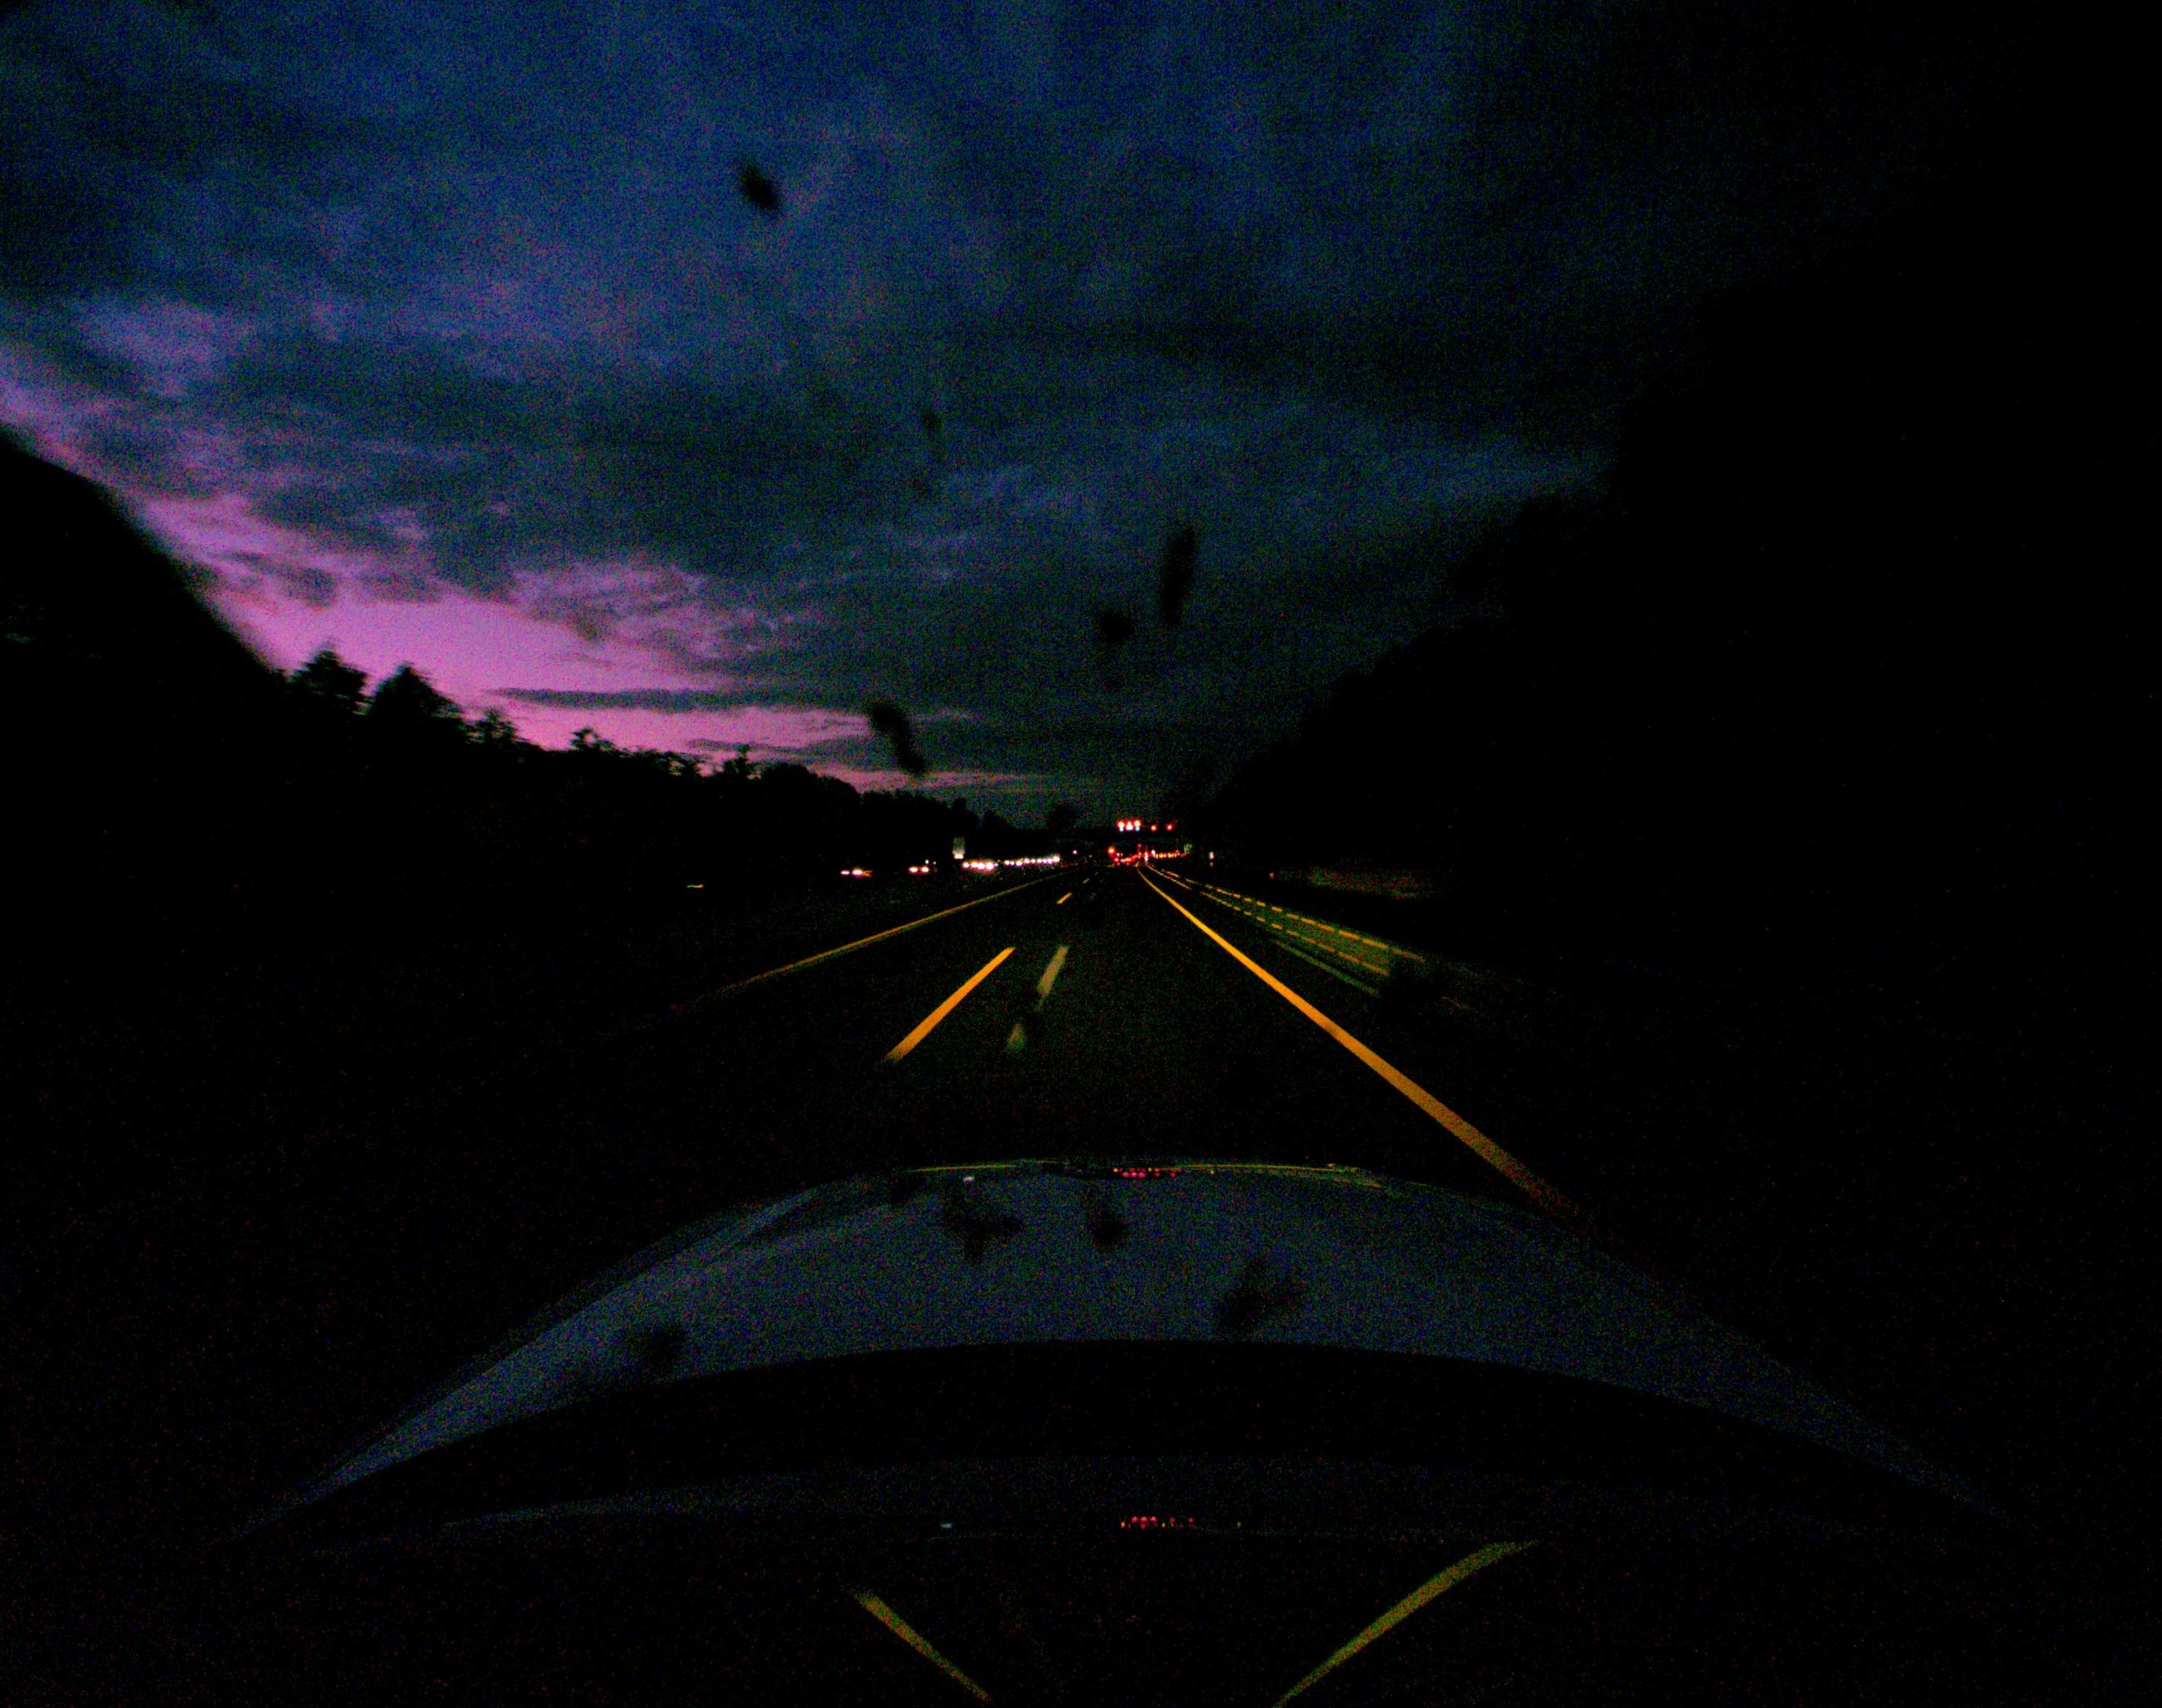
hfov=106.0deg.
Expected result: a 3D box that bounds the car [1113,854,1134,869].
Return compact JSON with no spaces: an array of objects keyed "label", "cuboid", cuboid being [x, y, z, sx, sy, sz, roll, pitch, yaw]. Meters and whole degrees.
[{"label":"car","cuboid":[4.646,0.818,88.481,2.256,1.621,4.003,0,0,3]}]

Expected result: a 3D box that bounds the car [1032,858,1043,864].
[{"label":"car","cuboid":[-10.040,1.593,188.672,1.802,1.485,4.708,0,0,5]}]

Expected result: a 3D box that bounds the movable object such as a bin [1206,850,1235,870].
[{"label":"movable object such as a bin","cuboid":[12.005,0.556,70.248,1.985,1.601,4.088,-3,-1,4]}]

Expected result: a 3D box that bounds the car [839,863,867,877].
[{"label":"car","cuboid":[-25.281,1.778,90.570,1.569,1.470,4.232,0,0,5]}]

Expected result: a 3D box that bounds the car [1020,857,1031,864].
[{"label":"car","cuboid":[-13.161,1.574,191.964,1.817,1.485,4.708,0,0,5]}]

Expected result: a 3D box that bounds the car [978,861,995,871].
[{"label":"car","cuboid":[-14.868,1.824,128.636,1.799,1.588,4.881,0,0,3]}]

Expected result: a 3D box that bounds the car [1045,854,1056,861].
[{"label":"car","cuboid":[-7.013,0.822,187.140,1.891,1.738,4.814,0,0,5]}]

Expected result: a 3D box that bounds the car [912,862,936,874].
[{"label":"car","cuboid":[-19.860,1.744,103.189,1.664,1.470,4.654,0,0,5]}]

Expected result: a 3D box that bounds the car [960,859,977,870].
[{"label":"car","cuboid":[-17.824,1.684,129.480,1.743,1.722,4.674,0,0,3]}]

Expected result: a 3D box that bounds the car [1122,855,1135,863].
[{"label":"car","cuboid":[8.749,0.970,149.140,1.961,1.437,4.009,0,0,8]}]

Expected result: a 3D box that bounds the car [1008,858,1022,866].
[{"label":"car","cuboid":[-12.408,1.516,153.476,1.742,1.454,4.676,0,0,5]}]

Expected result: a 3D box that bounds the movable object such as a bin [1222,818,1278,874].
[{"label":"movable object such as a bin","cuboid":[10.773,-0.465,52.281,2.554,3.318,5.582,-2,-1,3]}]

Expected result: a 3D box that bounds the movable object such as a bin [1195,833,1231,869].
[{"label":"movable object such as a bin","cuboid":[12.118,-0.278,75.219,2.610,3.108,5.810,-2,-1,3]}]

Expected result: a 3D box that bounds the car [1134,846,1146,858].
[{"label":"car","cuboid":[17.422,-0.598,240.535,3.589,3.396,8.023,0,0,4]}]
